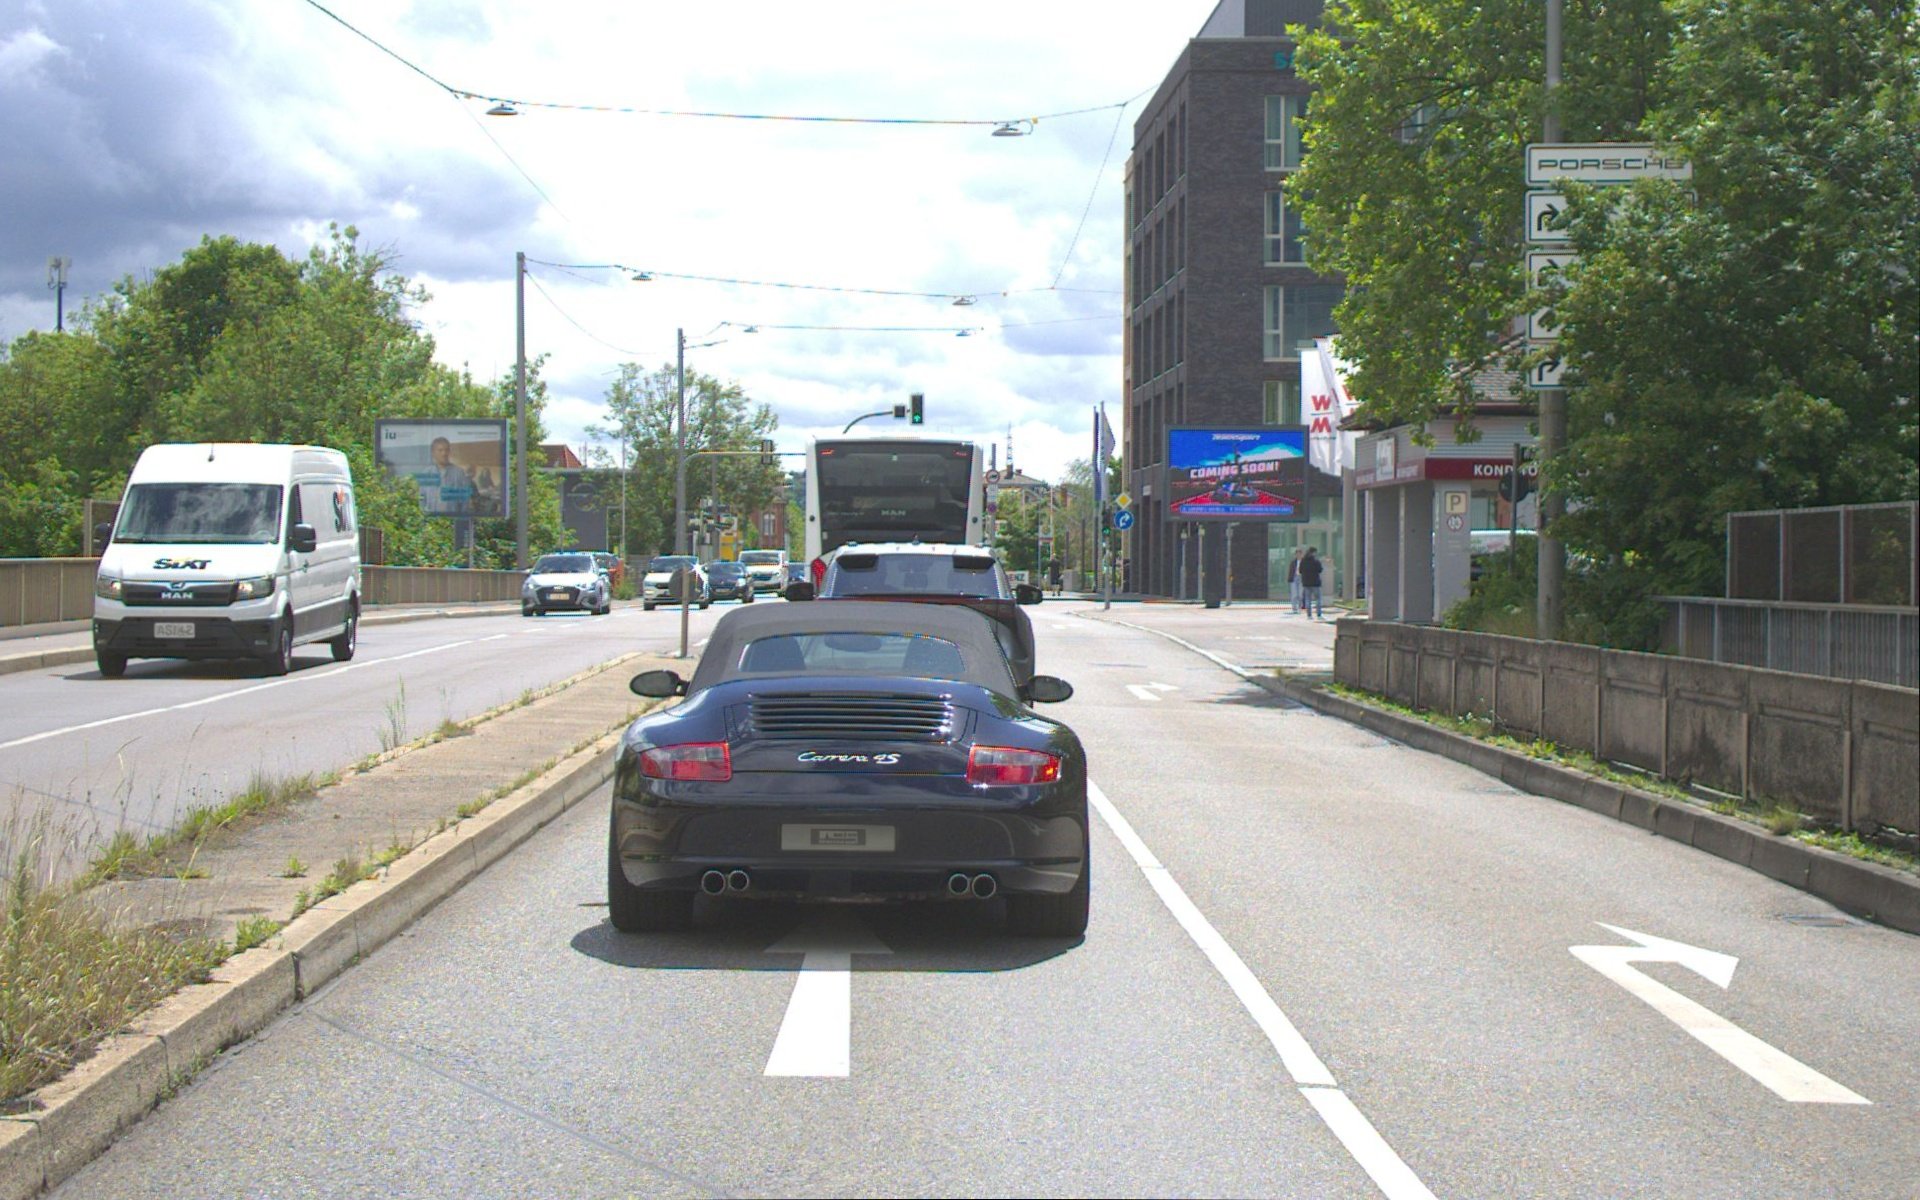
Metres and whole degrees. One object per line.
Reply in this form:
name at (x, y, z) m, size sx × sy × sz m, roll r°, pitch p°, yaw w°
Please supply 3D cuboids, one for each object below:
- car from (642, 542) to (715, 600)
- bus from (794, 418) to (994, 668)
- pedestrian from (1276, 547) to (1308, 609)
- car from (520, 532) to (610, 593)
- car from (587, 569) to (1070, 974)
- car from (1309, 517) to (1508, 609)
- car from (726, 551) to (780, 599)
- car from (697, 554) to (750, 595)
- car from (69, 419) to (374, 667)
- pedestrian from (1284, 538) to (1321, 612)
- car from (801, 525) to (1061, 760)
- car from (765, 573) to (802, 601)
car at (-7.965, -0.834, 97.564) m, size 1.810 × 1.555 × 4.208 m, roll 1°, pitch 1°, yaw -1°
bus at (-0.895, -1.114, 54.212) m, size 2.689 × 3.244 × 12.060 m, roll 2°, pitch 4°, yaw 0°
pedestrian at (9.192, -0.620, 95.259) m, size 0.707 × 1.690 × 0.924 m, roll 1°, pitch 1°, yaw -3°
car at (-9.070, -0.889, 79.191) m, size 1.637 × 1.358 × 4.195 m, roll 0°, pitch 1°, yaw -1°
car at (-0.512, 0.605, 14.504) m, size 1.720 × 1.270 × 4.089 m, roll 2°, pitch 3°, yaw -1°
car at (10.217, -0.844, 78.572) m, size 4.230 × 1.930 × 2.029 m, roll -2°, pitch 0°, yaw 1°
car at (-8.480, -1.027, 141.290) m, size 1.901 × 1.880 × 5.313 m, roll -1°, pitch 0°, yaw -1°
car at (-8.417, -0.915, 122.599) m, size 1.628 × 1.425 × 4.000 m, roll 1°, pitch 0°, yaw -1°
car at (-8.274, -0.663, 39.230) m, size 2.066 × 2.562 × 6.822 m, roll -1°, pitch 1°, yaw -1°
pedestrian at (8.006, -0.585, 80.269) m, size 0.681 × 1.690 × 0.597 m, roll 1°, pitch 1°, yaw 25°
car at (-0.254, 0.269, 27.742) m, size 1.879 × 1.588 × 4.230 m, roll 2°, pitch 3°, yaw -1°
car at (-8.972, -0.671, 174.748) m, size 1.662 × 1.411 × 3.803 m, roll 1°, pitch 0°, yaw 0°
